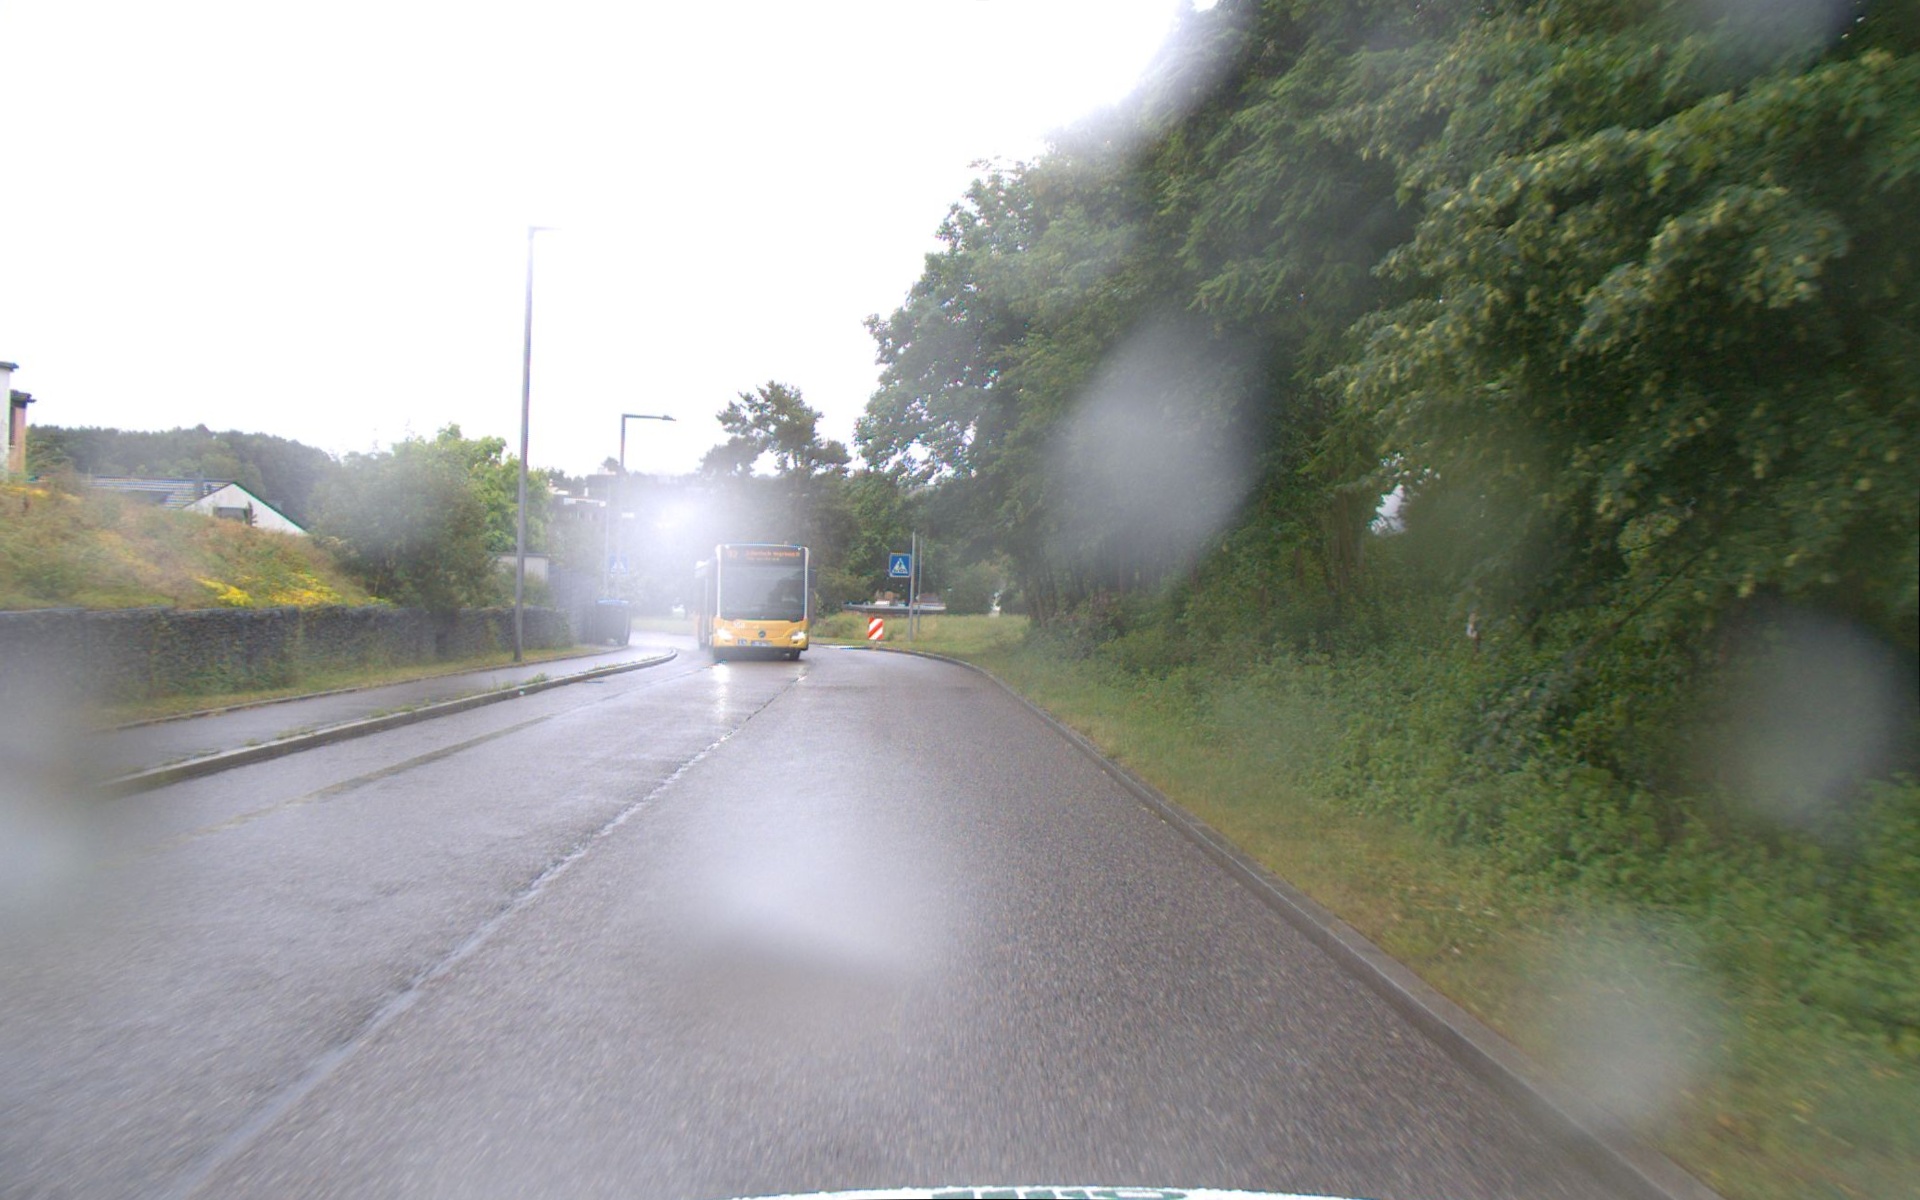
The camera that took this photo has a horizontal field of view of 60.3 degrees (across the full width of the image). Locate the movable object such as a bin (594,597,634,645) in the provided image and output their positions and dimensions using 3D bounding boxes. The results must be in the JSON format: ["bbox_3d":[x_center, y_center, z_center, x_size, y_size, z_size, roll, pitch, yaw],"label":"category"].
[{"bbox_3d":[-10.581,0.631,50.608,1.111,1.362,1.394,4,-1,-12],"label":"movable object such as a bin"}]

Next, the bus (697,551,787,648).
[{"bbox_3d":[-7.620,0.009,57.070,2.593,3.085,7.644,1,-1,-11],"label":"bus"}]

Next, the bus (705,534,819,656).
[{"bbox_3d":[-5.925,-0.070,47.987,2.592,3.121,10.827,1,-1,-10],"label":"bus"}]

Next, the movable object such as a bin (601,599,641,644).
[{"bbox_3d":[-10.773,0.682,52.559,1.111,1.324,1.394,4,-1,-12],"label":"movable object such as a bin"}]
